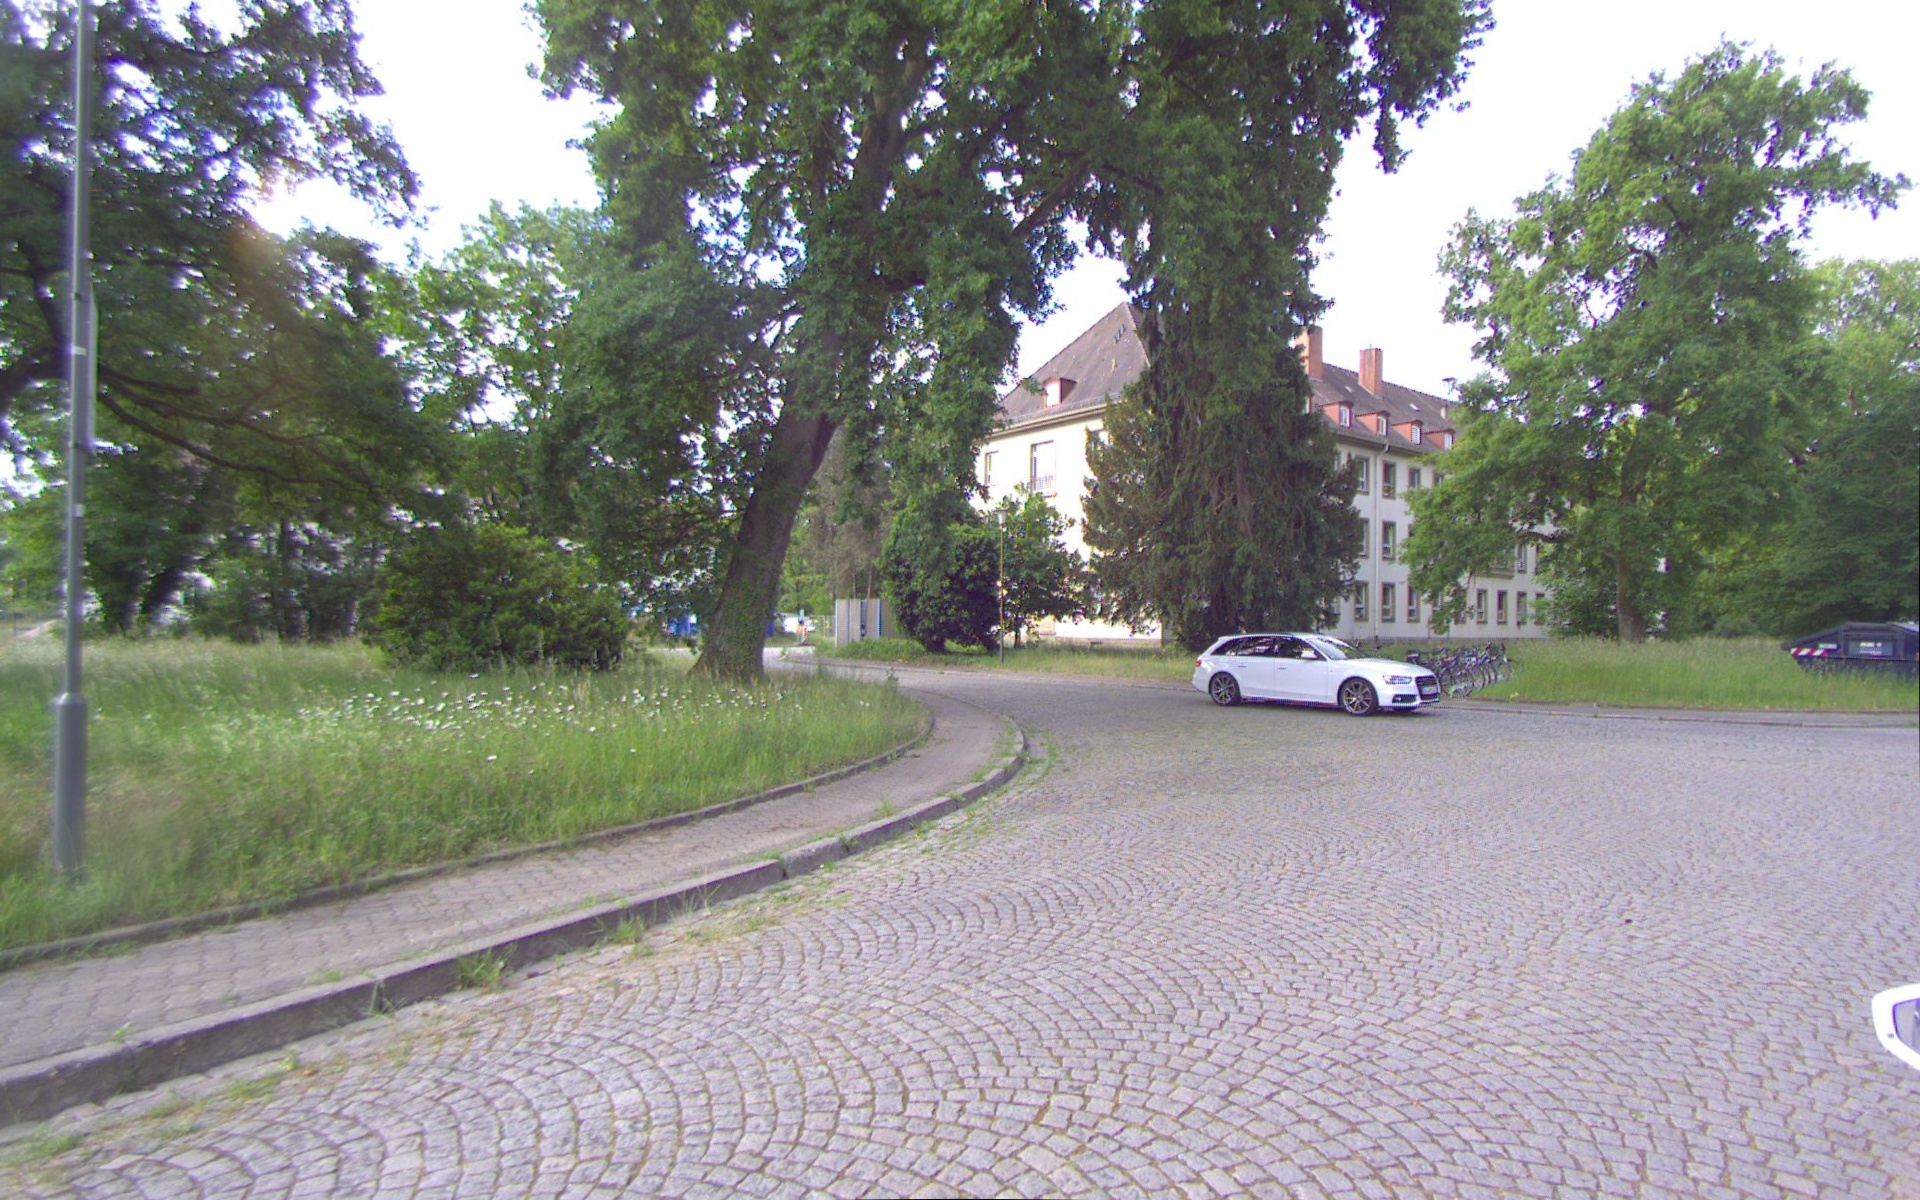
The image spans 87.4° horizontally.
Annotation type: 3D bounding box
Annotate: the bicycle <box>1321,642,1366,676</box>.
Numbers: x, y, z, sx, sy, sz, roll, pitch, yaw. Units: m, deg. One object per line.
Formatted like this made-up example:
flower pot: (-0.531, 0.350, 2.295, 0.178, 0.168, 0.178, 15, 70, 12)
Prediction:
bicycle: (11.842, 1.815, 31.008, 1.242, 1.042, 0.433, -2, -4, 34)

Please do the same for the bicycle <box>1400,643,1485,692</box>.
bicycle: (11.793, 1.637, 24.553, 1.769, 1.118, 0.700, -2, 0, 34)

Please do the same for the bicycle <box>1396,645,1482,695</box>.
bicycle: (11.410, 1.642, 23.926, 1.744, 1.118, 0.700, -2, 0, 34)

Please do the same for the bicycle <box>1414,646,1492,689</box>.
bicycle: (12.295, 1.672, 25.054, 1.668, 1.015, 0.630, -2, 0, 34)

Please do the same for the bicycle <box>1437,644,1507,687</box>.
bicycle: (14.190, 1.798, 27.864, 1.674, 1.131, 0.540, -2, 0, 34)

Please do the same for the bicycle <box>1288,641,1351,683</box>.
bicycle: (9.878, 1.700, 27.623, 1.598, 1.088, 0.539, 0, 1, 23)

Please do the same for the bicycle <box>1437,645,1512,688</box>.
bicycle: (13.991, 1.804, 27.321, 1.747, 1.120, 0.540, -2, 0, 34)

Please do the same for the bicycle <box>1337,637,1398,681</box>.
bicycle: (11.778, 1.680, 29.042, 1.614, 1.201, 0.573, 0, 1, 27)

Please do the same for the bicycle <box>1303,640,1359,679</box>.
bicycle: (10.657, 1.695, 28.864, 1.487, 1.049, 0.545, 0, 1, 23)

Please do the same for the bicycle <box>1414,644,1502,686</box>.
bicycle: (12.773, 1.651, 25.772, 1.927, 1.018, 0.684, -2, 0, 34)

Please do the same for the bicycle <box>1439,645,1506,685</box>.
bicycle: (14.457, 1.824, 28.353, 1.594, 1.073, 0.525, -2, 0, 34)

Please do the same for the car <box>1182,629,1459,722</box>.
car: (6.582, 1.310, 18.812, 1.838, 1.456, 4.655, 2, -2, -38)

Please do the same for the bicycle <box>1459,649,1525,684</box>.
bicycle: (15.124, 1.875, 28.546, 1.594, 0.923, 0.525, -2, 0, 34)
